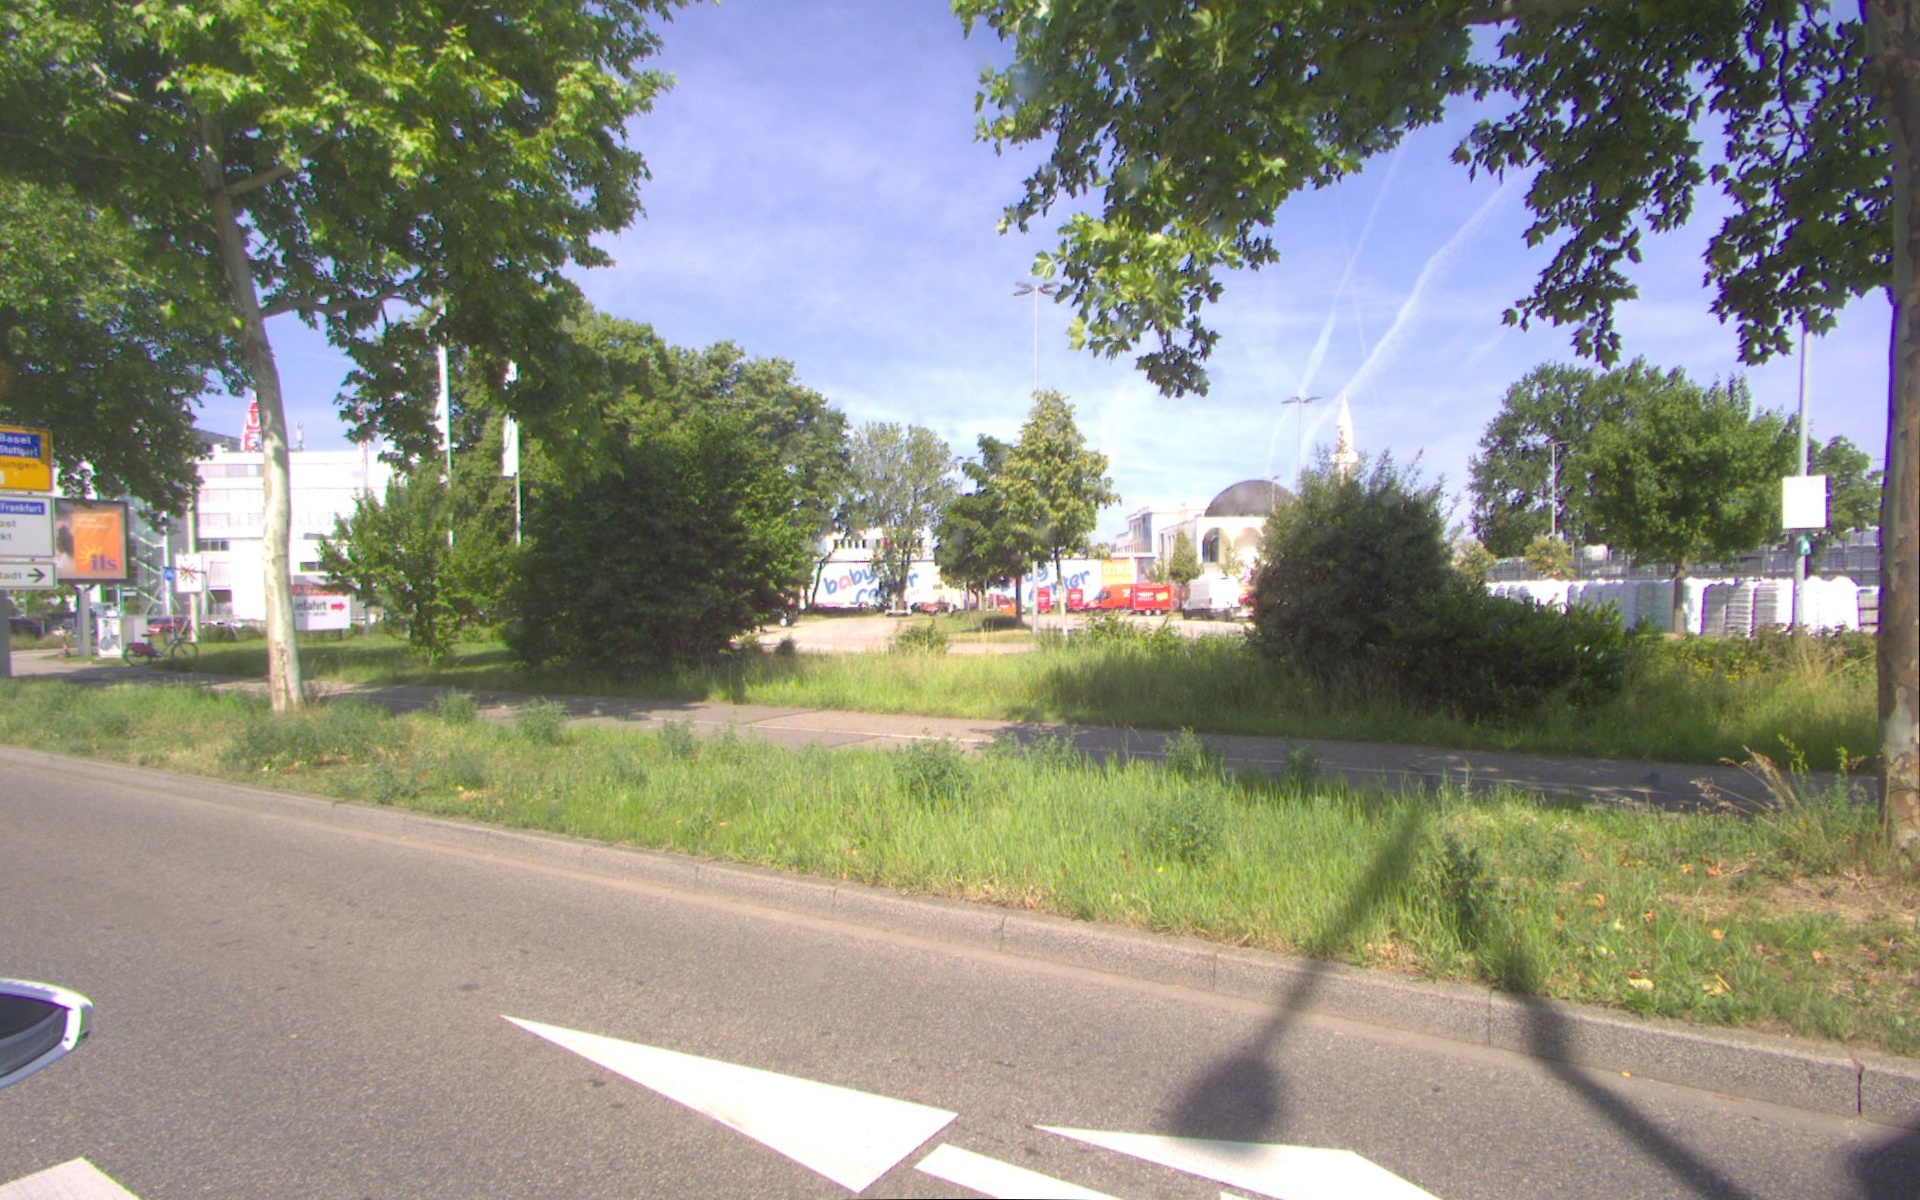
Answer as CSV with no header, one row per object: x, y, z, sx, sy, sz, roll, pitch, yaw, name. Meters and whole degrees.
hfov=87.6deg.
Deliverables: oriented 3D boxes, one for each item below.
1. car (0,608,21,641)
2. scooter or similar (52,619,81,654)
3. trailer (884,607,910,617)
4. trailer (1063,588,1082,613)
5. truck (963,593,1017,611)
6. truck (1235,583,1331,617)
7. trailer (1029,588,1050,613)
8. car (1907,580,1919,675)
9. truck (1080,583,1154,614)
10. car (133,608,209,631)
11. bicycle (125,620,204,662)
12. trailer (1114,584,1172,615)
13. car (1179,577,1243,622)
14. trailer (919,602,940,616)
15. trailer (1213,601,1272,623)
-50.146,1.271,50.242,1.879,1.711,4.625,-1,0,-4,car
-29.896,1.201,33.503,1.107,1.141,0.423,0,1,32,scooter or similar
-5.946,1.125,94.907,2.059,0.792,4.411,-1,0,1,trailer
10.894,0.037,97.191,1.520,2.390,4.410,0,1,2,trailer
3.366,0.239,112.923,5.888,1.855,2.188,0,-2,-3,truck
21.623,0.003,67.184,5.751,2.168,2.066,-1,0,-1,truck
7.747,0.025,97.809,1.560,2.408,4.410,0,1,-1,trailer
16.441,0.463,15.243,1.820,1.606,3.849,-1,0,25,car
13.331,-0.134,85.187,5.914,2.644,2.018,0,0,-6,truck
-54.004,1.278,68.633,1.747,1.463,4.625,-1,0,-4,car
-23.803,1.211,29.990,1.771,1.123,0.499,-3,2,-40,bicycle
14.507,-0.039,79.450,4.325,2.409,1.751,0,1,0,trailer
15.516,-0.043,62.221,1.980,2.576,5.687,-3,0,-6,car
-2.932,0.815,95.656,1.560,1.304,4.409,-1,0,-7,trailer
15.934,0.661,56.630,2.029,1.137,4.031,-3,0,-2,trailer
